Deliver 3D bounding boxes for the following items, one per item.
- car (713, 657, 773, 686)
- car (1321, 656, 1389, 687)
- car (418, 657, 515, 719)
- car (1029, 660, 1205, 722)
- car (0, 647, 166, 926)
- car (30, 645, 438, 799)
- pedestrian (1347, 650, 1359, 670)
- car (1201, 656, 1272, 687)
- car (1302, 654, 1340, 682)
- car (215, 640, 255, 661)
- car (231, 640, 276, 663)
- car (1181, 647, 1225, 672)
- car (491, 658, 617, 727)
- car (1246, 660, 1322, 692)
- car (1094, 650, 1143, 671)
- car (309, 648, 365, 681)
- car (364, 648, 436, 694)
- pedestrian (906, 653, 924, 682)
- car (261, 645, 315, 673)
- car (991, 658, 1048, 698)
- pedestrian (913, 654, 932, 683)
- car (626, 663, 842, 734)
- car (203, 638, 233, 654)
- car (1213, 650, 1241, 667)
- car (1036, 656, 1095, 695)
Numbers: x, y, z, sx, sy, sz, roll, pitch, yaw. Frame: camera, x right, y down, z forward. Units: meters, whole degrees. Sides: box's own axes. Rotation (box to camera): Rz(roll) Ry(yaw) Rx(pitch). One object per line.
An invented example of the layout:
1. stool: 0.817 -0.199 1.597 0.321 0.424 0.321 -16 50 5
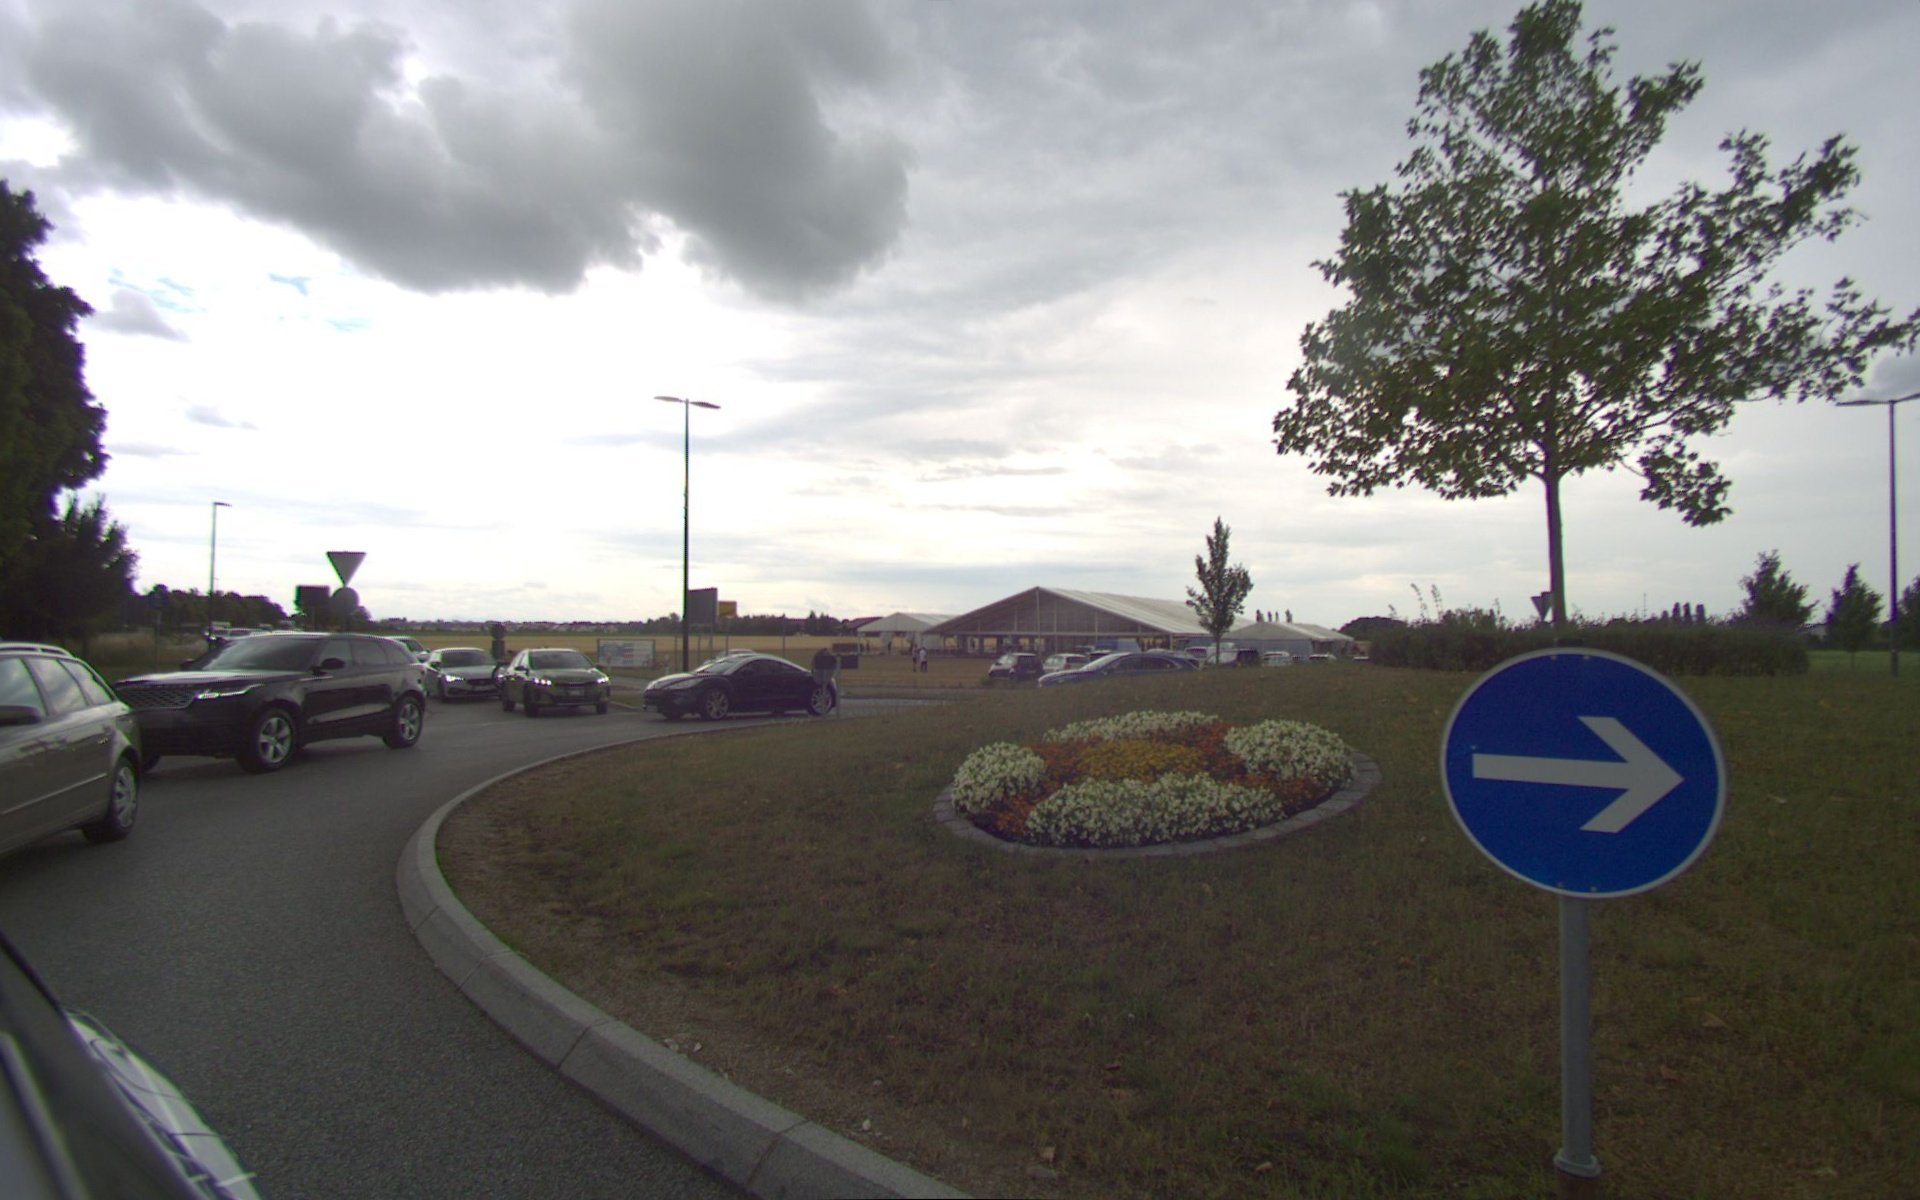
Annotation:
1. car: -11.122 3.620 51.686 1.751 1.328 3.821 2 -3 -32
2. car: 22.214 4.004 57.023 1.608 1.619 3.886 1 -2 -13
3. car: -14.119 2.449 28.864 1.753 1.510 3.818 1 -2 -37
4. car: 3.897 2.268 25.434 4.017 1.441 1.766 1 -2 -9
5. car: -6.173 1.042 5.489 1.752 1.476 4.555 1 -2 -22
6. car: -8.928 1.409 13.090 1.972 1.586 4.586 -1 -2 0
7. pedestrian: 40.141 6.097 103.367 1.048 2.029 1.049 -1 -3 31
8. car: 14.091 3.643 51.814 1.919 1.453 4.009 1 -2 -11
9. car: 22.686 4.250 63.507 1.826 1.619 3.794 -1 -3 27
10. car: -50.343 3.479 70.253 1.755 1.328 3.814 2 -2 -43
11. car: -43.539 3.149 62.338 1.755 1.328 3.814 2 -2 -43
12. car: 15.865 3.864 65.890 1.941 1.453 3.964 1 -1 26
13. car: -9.661 2.154 23.913 1.811 1.469 4.145 2 -5 -36
14. car: 17.949 4.178 56.272 1.705 1.619 3.888 2 -3 -30
15. car: 11.210 4.255 71.517 1.947 1.453 3.953 -1 -3 34
16. car: -27.943 2.859 45.362 1.753 1.328 3.818 1 -2 -37
17. car: -20.468 2.547 36.940 1.753 1.510 3.818 1 -2 -37
18. pedestrian: -3.081 4.617 69.082 0.938 1.915 0.851 1 -2 -33
19. car: -35.362 3.065 53.203 1.755 1.328 3.814 2 -2 -43
20. car: 2.769 3.656 48.110 1.688 1.565 4.009 -1 0 -12
21. pedestrian: -2.529 4.602 68.278 0.938 1.915 0.851 1 -2 -33
22. car: -4.667 1.992 21.235 4.051 1.317 1.833 3 -4 -42
23. car: -66.921 4.118 91.245 1.755 1.328 3.814 2 -2 -43
24. car: 25.579 5.585 96.912 1.826 1.619 3.793 -1 -3 27
25. car: 5.045 3.616 48.945 1.688 1.565 4.009 -1 0 -12
